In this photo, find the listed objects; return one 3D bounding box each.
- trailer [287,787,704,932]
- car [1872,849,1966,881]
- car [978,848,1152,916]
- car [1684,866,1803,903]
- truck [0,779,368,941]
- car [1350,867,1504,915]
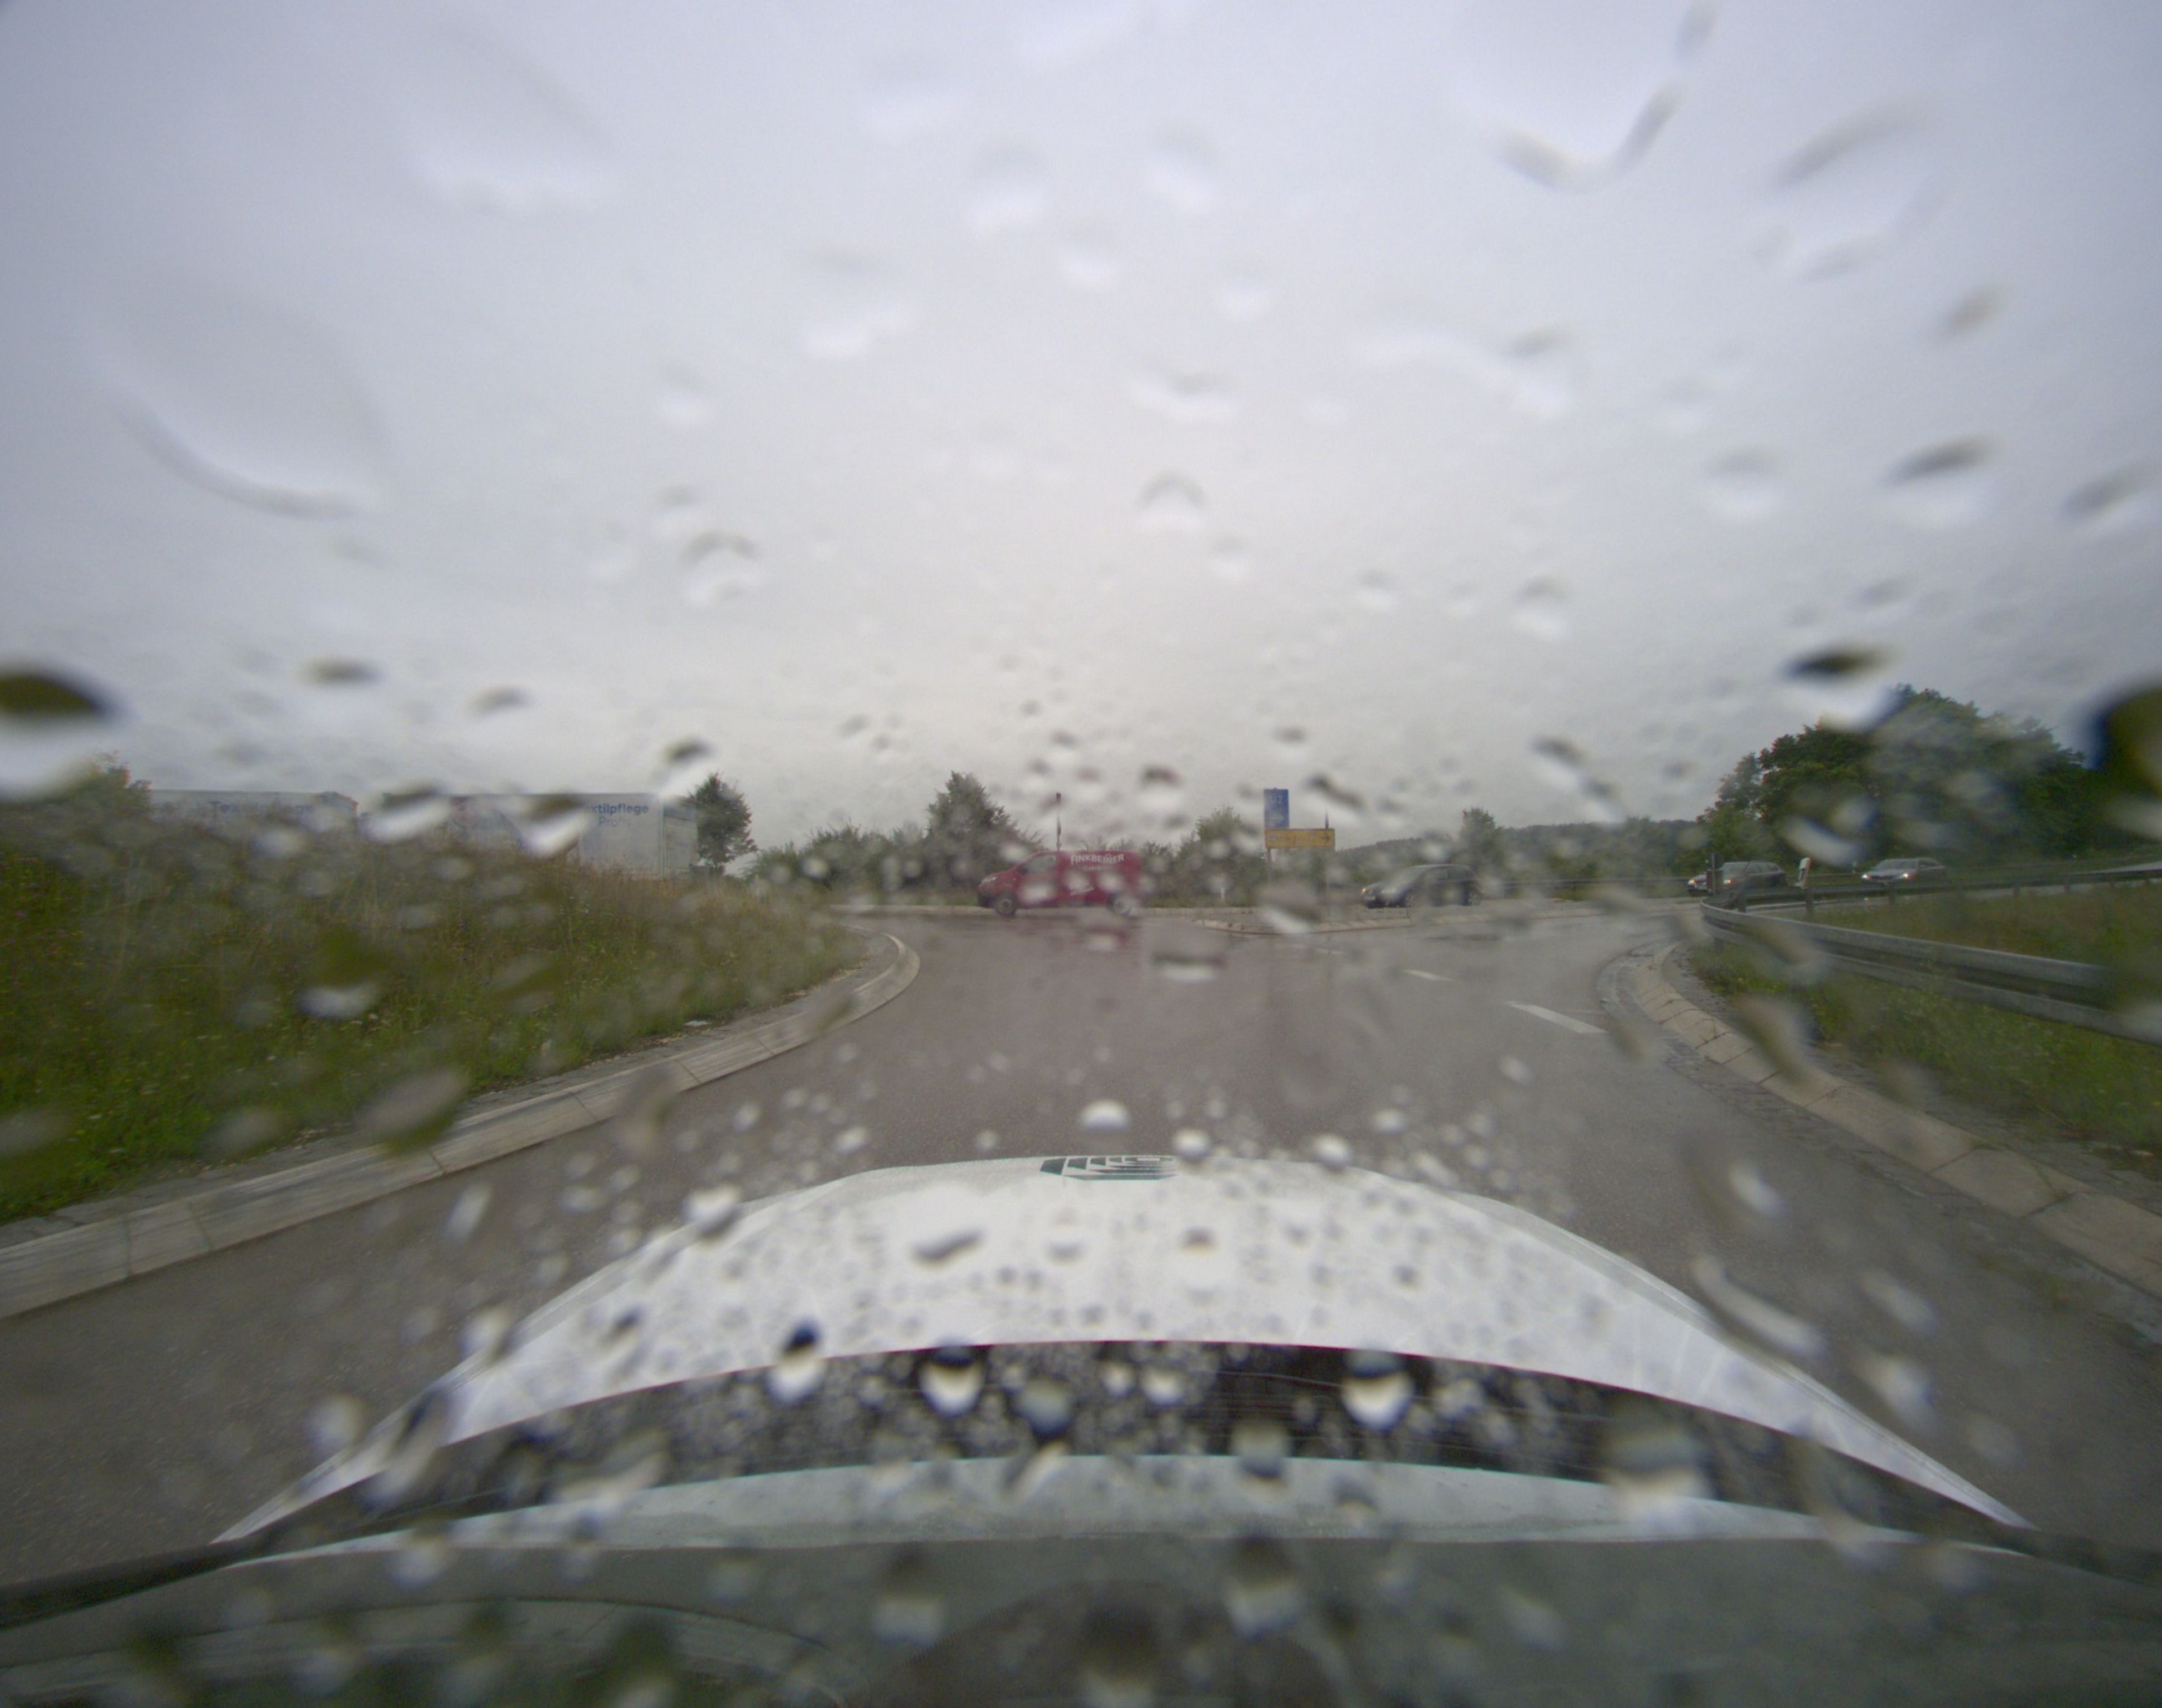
[{"bbox_3d":[-16.587,0.116,23.747,9.670,3.819,2.835,-1,-1,-6],"label":"trailer"},{"bbox_3d":[39.168,0.526,38.038,4.512,1.421,1.749,1,-1,-26],"label":"car"},{"bbox_3d":[-0.520,0.802,24.102,4.955,1.870,1.996,0,-1,-6],"label":"car"},{"bbox_3d":[26.242,1.179,32.242,4.511,1.371,1.934,1,-1,-25],"label":"car"},{"bbox_3d":[-24.186,0.157,21.424,7.710,3.819,2.782,0,-1,-29],"label":"truck"},{"bbox_3d":[11.104,1.155,26.148,4.503,1.421,1.862,1,-1,-20],"label":"car"}]
